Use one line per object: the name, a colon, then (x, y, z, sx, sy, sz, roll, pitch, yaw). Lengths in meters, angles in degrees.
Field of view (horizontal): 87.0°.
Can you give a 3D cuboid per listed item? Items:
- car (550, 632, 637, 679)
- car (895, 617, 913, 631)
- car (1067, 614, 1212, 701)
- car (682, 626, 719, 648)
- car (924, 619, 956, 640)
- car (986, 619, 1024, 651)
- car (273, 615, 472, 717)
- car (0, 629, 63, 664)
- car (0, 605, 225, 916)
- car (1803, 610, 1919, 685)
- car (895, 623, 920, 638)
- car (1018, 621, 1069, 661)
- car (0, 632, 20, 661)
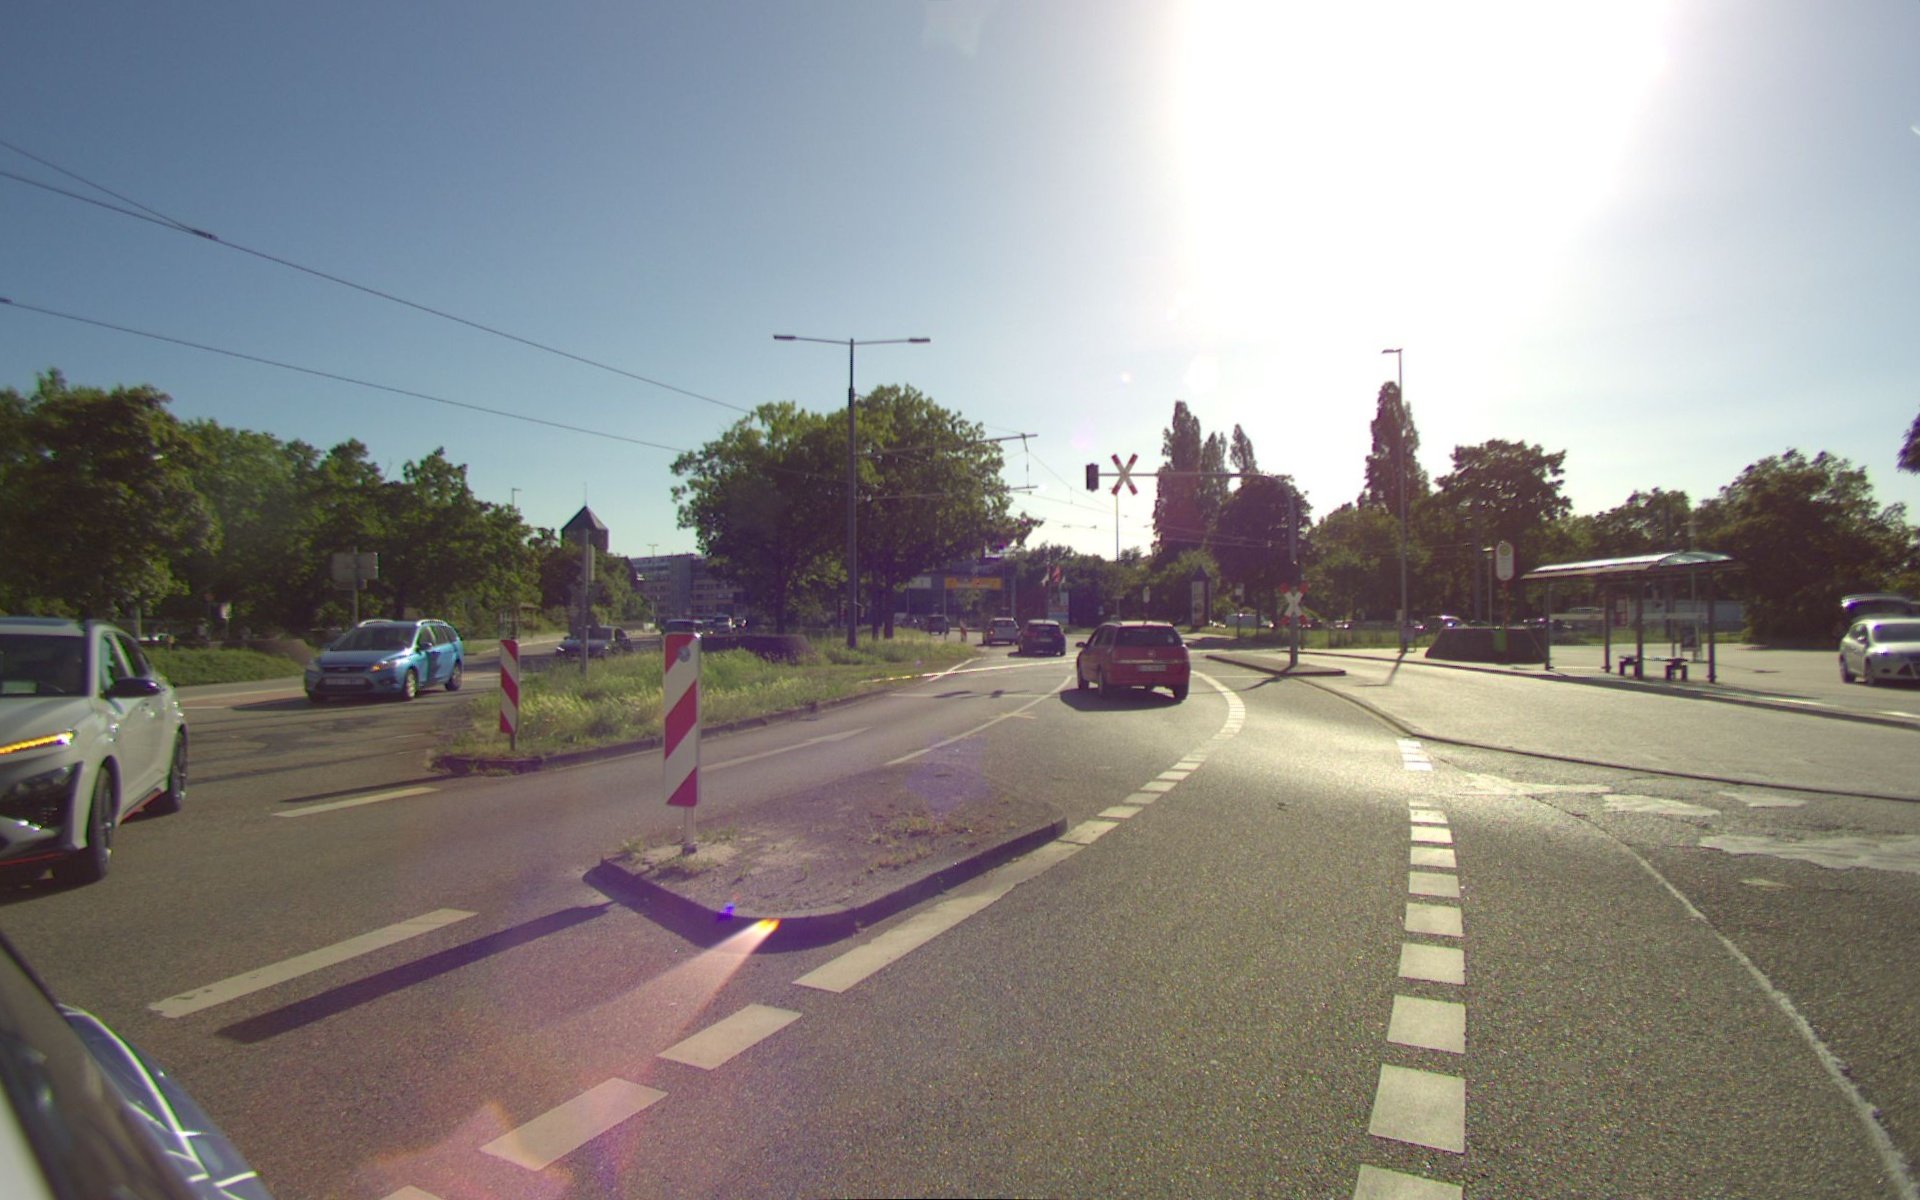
car: (-12.399, 1.828, 34.483, 1.844, 1.467, 4.492, 0, -1, -7)
car: (-8.298, 3.565, 149.032, 1.967, 2.029, 4.010, 0, -1, -13)
car: (3.497, 1.105, 20.654, 1.971, 1.564, 4.487, -1, -1, -2)
car: (-17.974, 2.519, 70.179, 1.845, 1.467, 4.490, 0, -1, -6)
car: (-1.738, 2.529, 86.689, 1.967, 1.675, 4.495, 0, -1, -11)
car: (2.454, 1.898, 55.245, 1.974, 1.675, 4.480, -1, -1, 3)
car: (-11.497, 1.220, 20.204, 1.844, 1.789, 4.492, 0, -1, -7)
car: (-45.178, 2.221, 48.377, 1.792, 1.596, 3.693, 0, -1, -11)
car: (-6.501, 0.866, 6.790, 1.873, 1.564, 4.499, 0, -2, -27)
car: (20.359, 0.984, 22.010, 1.668, 1.519, 3.580, -1, -1, 14)
car: (-5.860, 3.394, 112.491, 1.967, 1.675, 4.496, 0, -1, -13)
car: (3.485, 1.688, 42.742, 1.974, 1.564, 4.480, -1, -1, 3)
car: (-47.329, 2.264, 48.381, 1.792, 1.405, 3.693, 0, -1, -11)
